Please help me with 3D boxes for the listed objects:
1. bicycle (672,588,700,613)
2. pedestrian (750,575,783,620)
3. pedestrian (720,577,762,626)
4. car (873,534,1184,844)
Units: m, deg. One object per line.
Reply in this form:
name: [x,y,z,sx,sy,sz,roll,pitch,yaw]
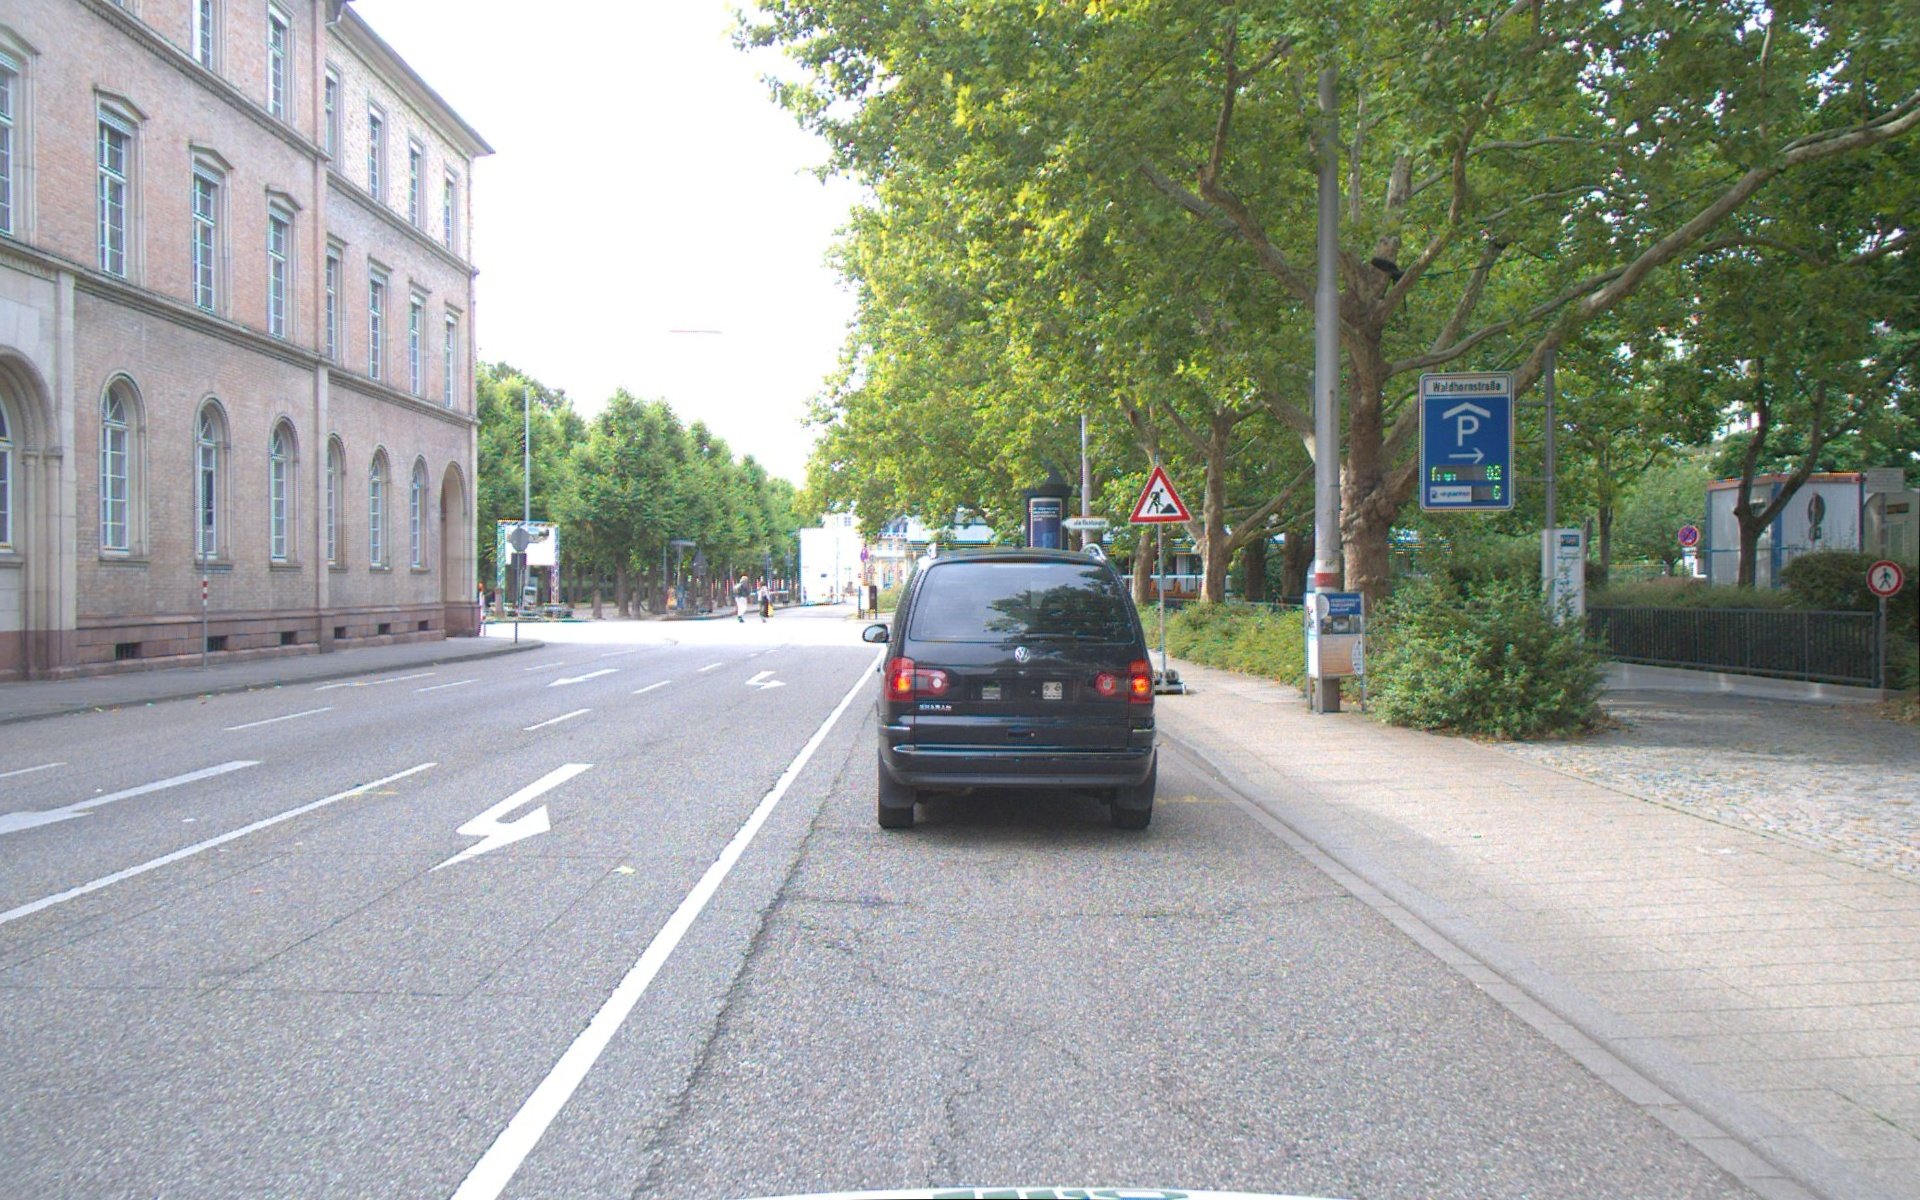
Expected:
bicycle: [-13.531,0.027,81.587,0.937,1.129,2.566,1,1,-18]
pedestrian: [-7.276,-0.091,62.123,0.880,1.670,0.849,2,1,34]
pedestrian: [-8.259,0.053,62.326,0.944,1.772,1.250,2,1,38]
car: [0.329,0.473,11.425,1.757,1.738,4.130,0,1,-2]
